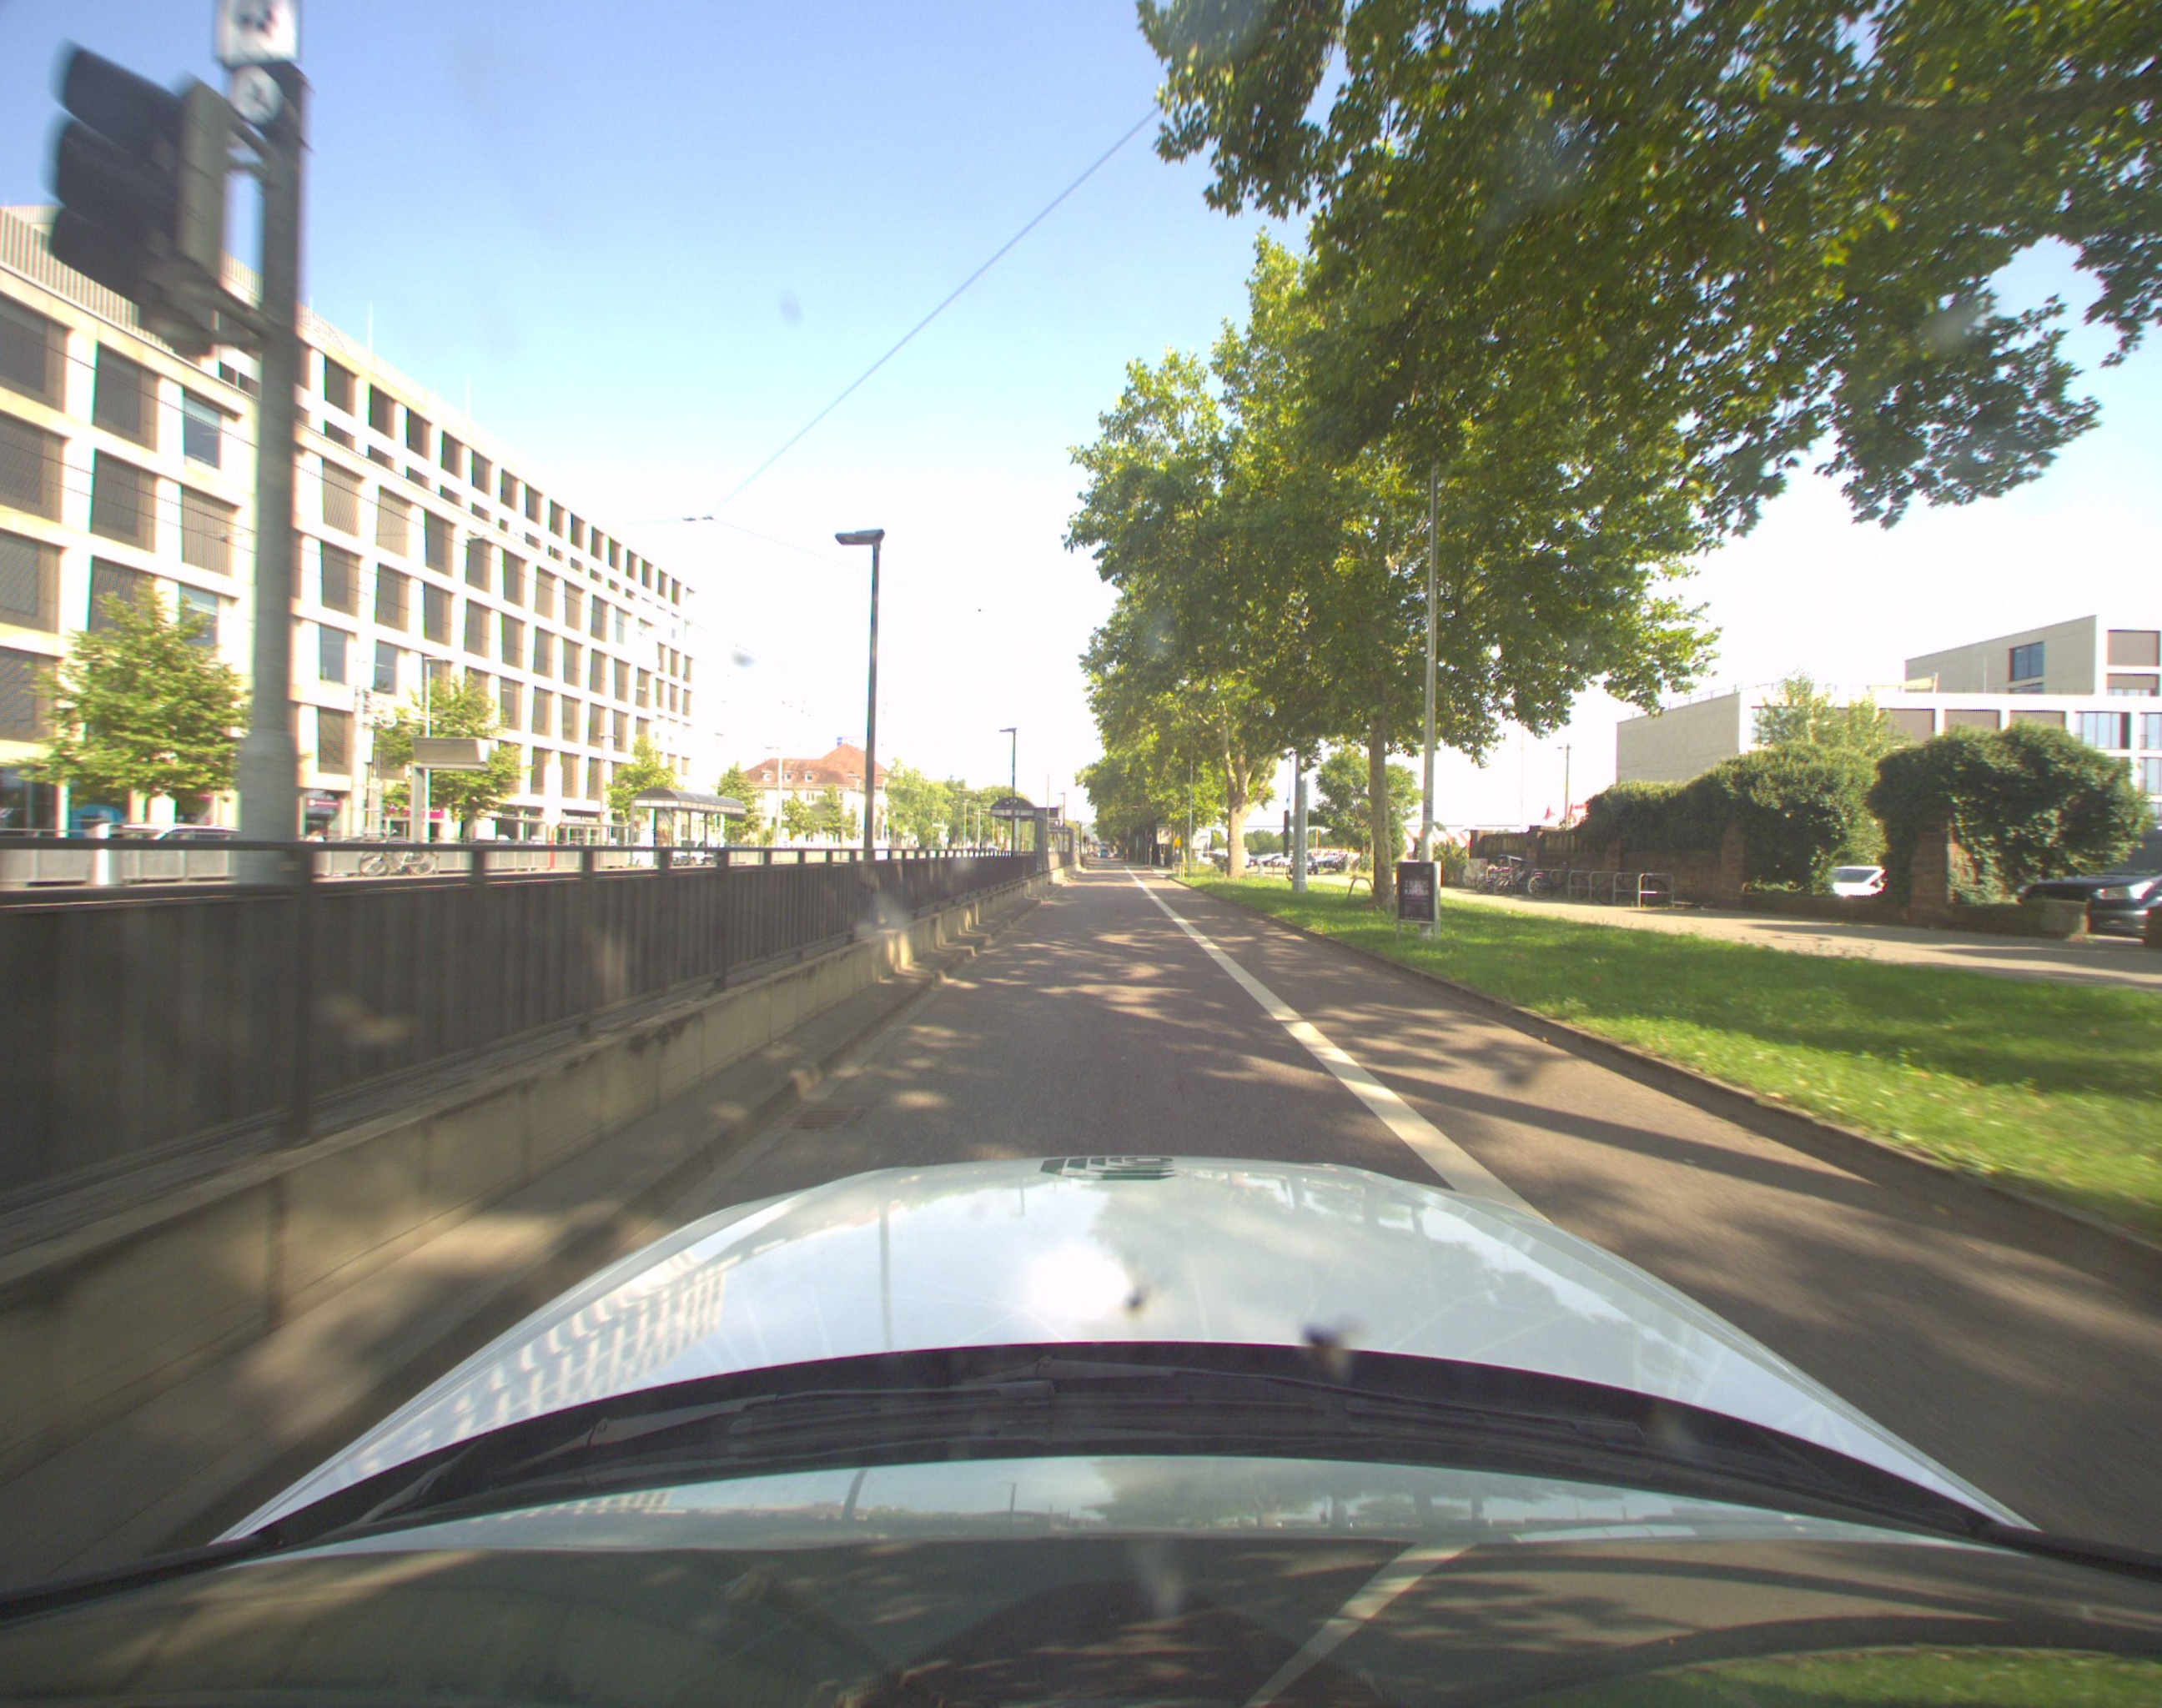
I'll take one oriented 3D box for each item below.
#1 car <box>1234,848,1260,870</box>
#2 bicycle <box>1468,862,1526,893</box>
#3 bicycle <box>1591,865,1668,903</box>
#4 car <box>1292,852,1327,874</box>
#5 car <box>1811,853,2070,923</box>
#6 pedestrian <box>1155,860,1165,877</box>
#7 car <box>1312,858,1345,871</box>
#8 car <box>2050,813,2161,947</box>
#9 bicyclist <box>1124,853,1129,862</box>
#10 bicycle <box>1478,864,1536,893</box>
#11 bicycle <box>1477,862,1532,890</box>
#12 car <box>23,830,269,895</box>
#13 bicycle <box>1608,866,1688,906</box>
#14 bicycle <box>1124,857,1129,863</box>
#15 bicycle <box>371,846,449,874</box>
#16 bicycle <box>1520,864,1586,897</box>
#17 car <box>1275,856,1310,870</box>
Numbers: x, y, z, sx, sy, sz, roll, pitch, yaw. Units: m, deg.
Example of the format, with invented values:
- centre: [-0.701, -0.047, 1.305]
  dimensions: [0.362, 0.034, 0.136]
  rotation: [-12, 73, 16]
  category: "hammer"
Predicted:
- centre: [15.985, 0.485, 78.420]
  dimensions: [1.715, 2.048, 4.463]
  rotation: [1, 0, 2]
  category: "car"
- centre: [13.805, 0.771, 27.067]
  dimensions: [0.509, 0.969, 1.642]
  rotation: [-1, 0, -40]
  category: "bicycle"
- centre: [14.554, 0.791, 21.630]
  dimensions: [1.647, 0.969, 0.507]
  rotation: [-1, 0, 6]
  category: "bicycle"
- centre: [18.270, 0.732, 65.008]
  dimensions: [1.705, 1.679, 4.275]
  rotation: [1, 0, 30]
  category: "car"
- centre: [22.216, 0.842, 21.223]
  dimensions: [4.499, 1.675, 1.979]
  rotation: [1, 0, 4]
  category: "car"
- centre: [7.923, 1.460, 81.679]
  dimensions: [0.619, 1.617, 0.850]
  rotation: [1, 0, 39]
  category: "pedestrian"
- centre: [30.731, 1.251, 101.143]
  dimensions: [3.753, 1.446, 1.530]
  rotation: [2, 0, 8]
  category: "car"
- centre: [21.840, 0.485, 15.037]
  dimensions: [5.107, 2.368, 2.133]
  rotation: [1, 0, 4]
  category: "car"
- centre: [7.498, 0.576, 133.560]
  dimensions: [0.703, 1.461, 1.009]
  rotation: [2, 0, 2]
  category: "bicyclist"
- centre: [14.359, 0.811, 27.494]
  dimensions: [0.509, 0.969, 1.642]
  rotation: [-1, 0, -40]
  category: "bicycle"
- centre: [15.002, 0.782, 28.848]
  dimensions: [1.649, 0.969, 0.506]
  rotation: [-1, 0, 3]
  category: "bicycle"
- centre: [-24.649, 0.193, 21.750]
  dimensions: [1.636, 1.550, 4.224]
  rotation: [1, 0, 1]
  category: "car"
- centre: [14.499, 0.817, 20.839]
  dimensions: [1.649, 0.969, 0.506]
  rotation: [-1, 0, 2]
  category: "bicycle"
- centre: [7.481, 0.979, 133.542]
  dimensions: [0.712, 1.107, 2.510]
  rotation: [2, 0, 2]
  category: "bicycle"
- centre: [-16.573, 0.142, 20.168]
  dimensions: [0.474, 0.662, 1.616]
  rotation: [1, 0, 6]
  category: "bicycle"
- centre: [14.157, 0.789, 24.455]
  dimensions: [1.647, 0.969, 0.507]
  rotation: [-1, 0, 6]
  category: "bicycle"
- centre: [24.387, 1.013, 93.852]
  dimensions: [3.753, 1.446, 1.530]
  rotation: [2, 0, 8]
  category: "car"
